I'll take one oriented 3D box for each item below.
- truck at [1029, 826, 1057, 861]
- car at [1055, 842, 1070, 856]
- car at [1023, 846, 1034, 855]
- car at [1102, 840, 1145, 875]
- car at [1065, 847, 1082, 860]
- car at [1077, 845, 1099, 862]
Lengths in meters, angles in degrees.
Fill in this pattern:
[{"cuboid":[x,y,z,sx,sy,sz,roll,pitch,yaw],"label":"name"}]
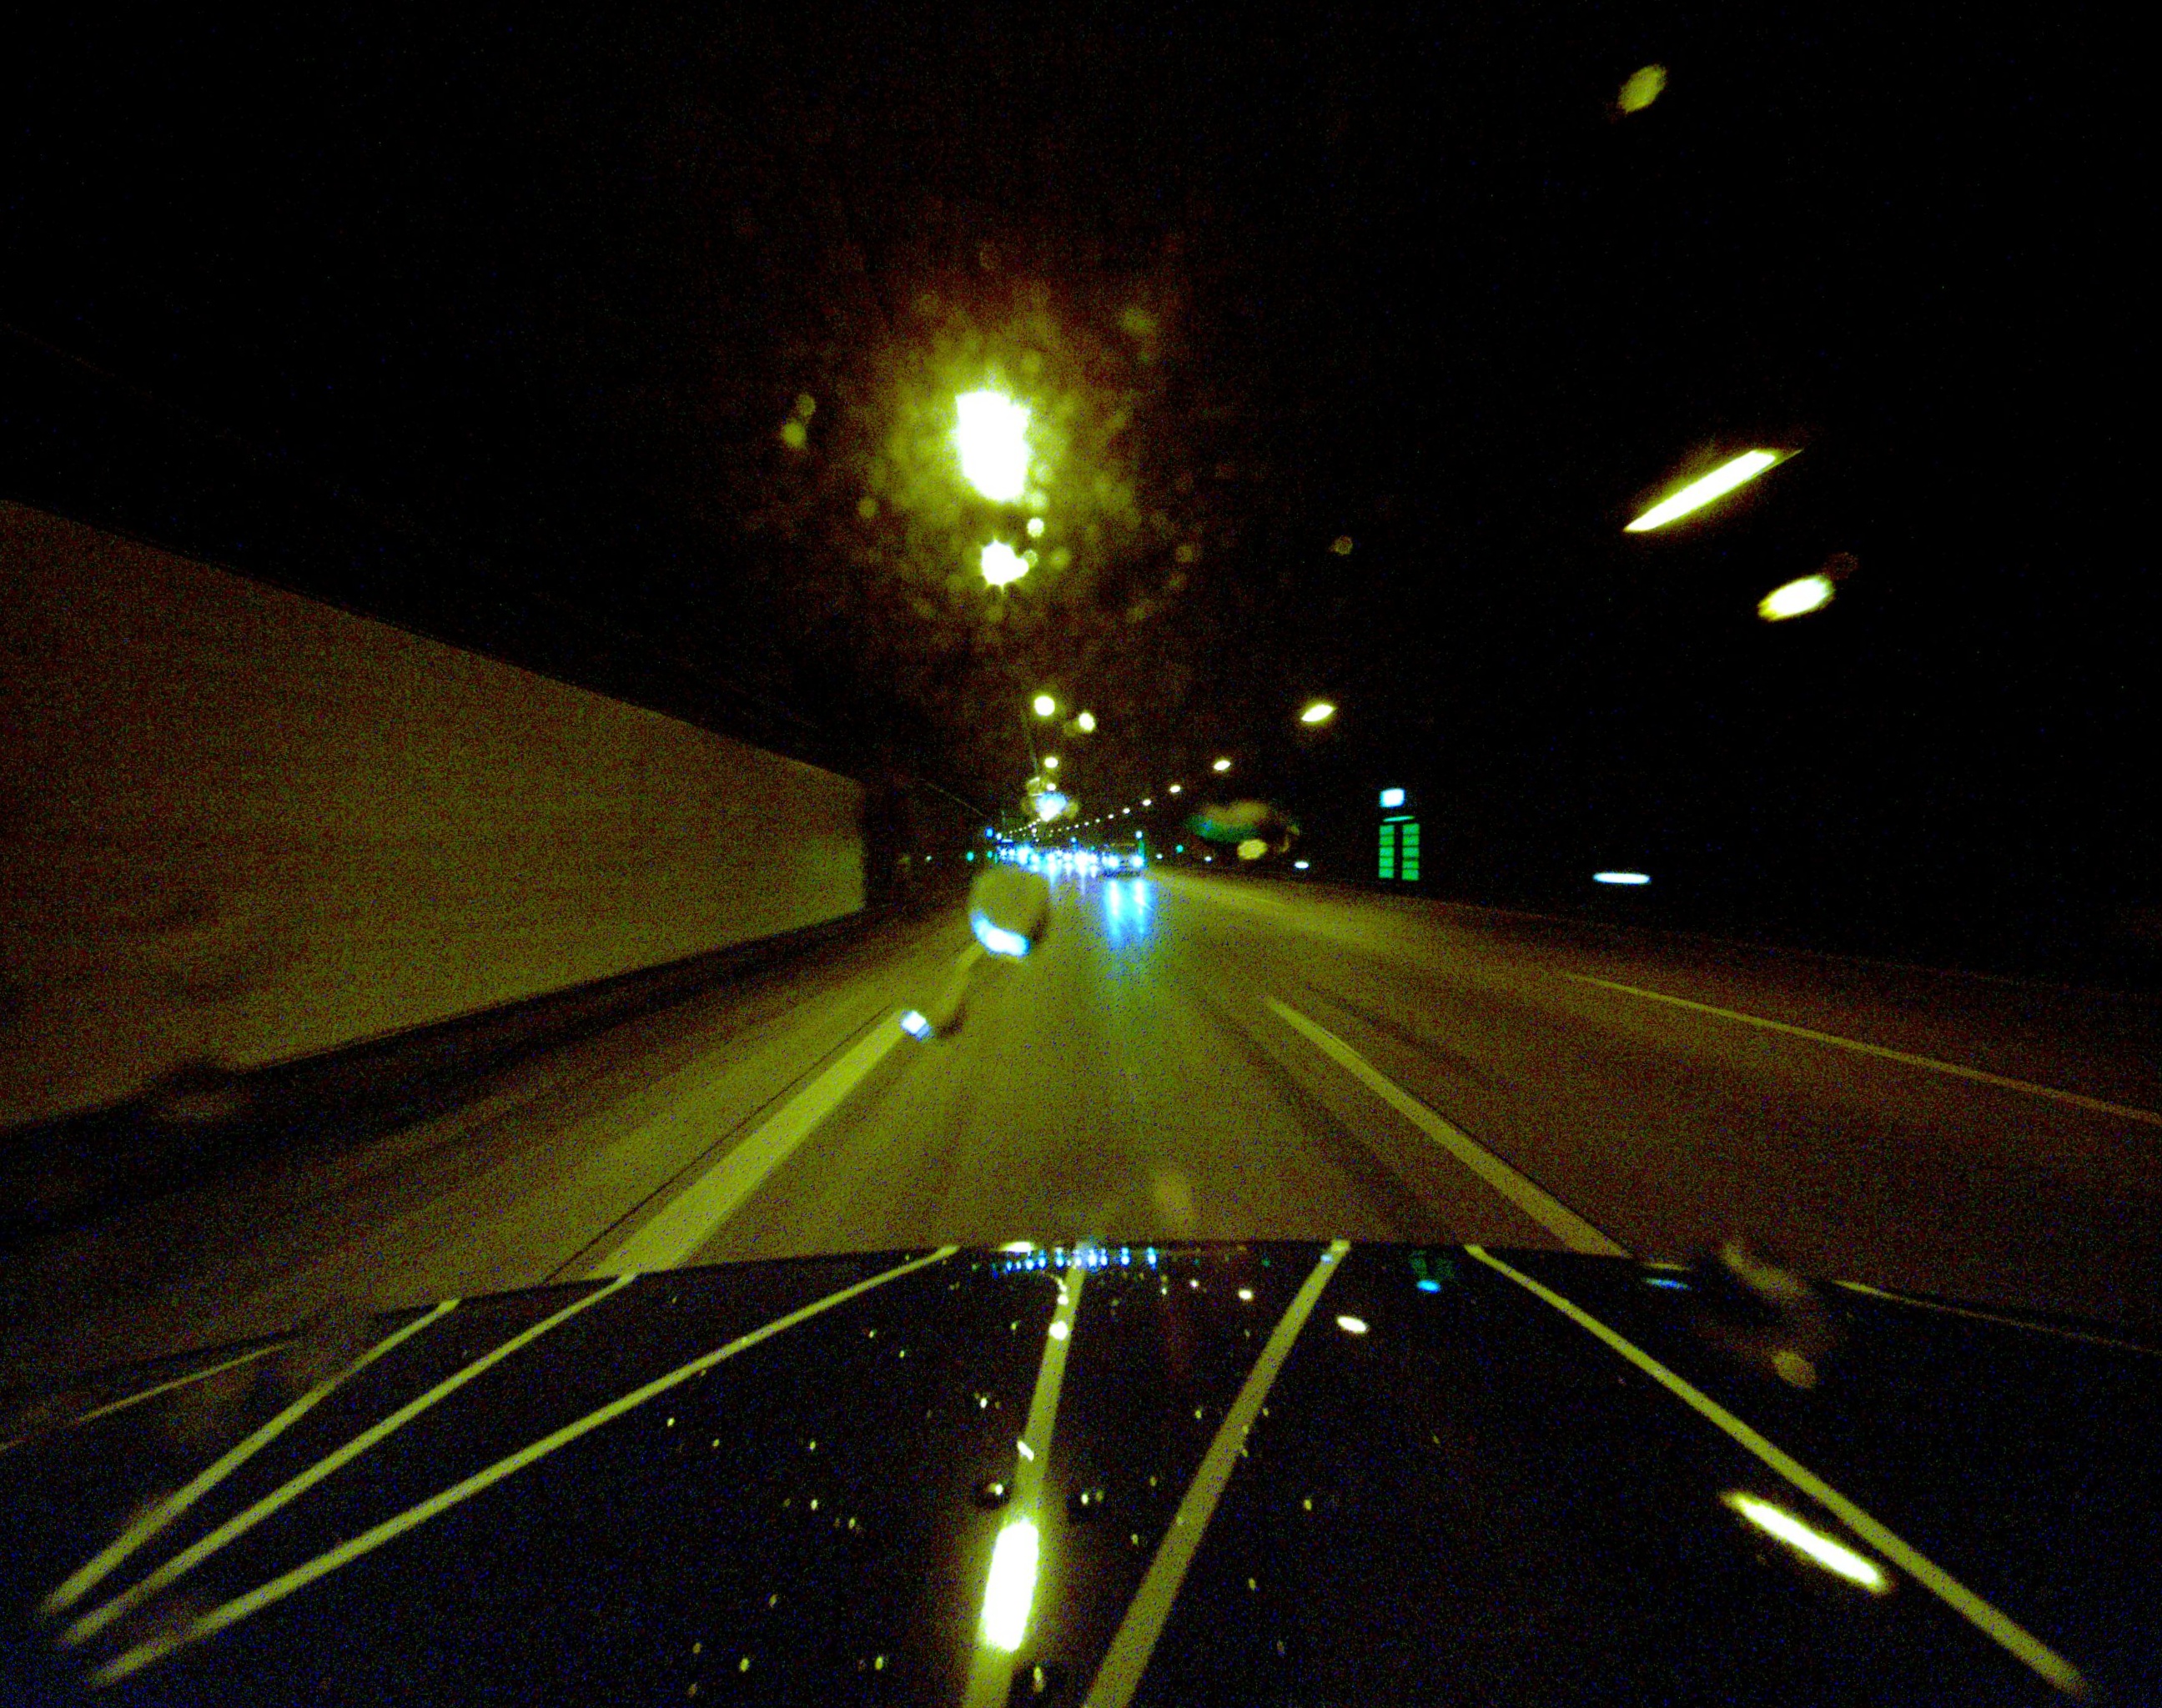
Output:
[{"cuboid":[-4.730,-1.337,93.725,3.143,4.136,7.383,-2,2,-4],"label":"truck"},{"cuboid":[-2.937,-0.792,120.833,1.999,2.002,3.998,-2,0,-6],"label":"car"},{"cuboid":[-11.721,-0.791,169.398,2.000,1.729,3.995,-2,1,-12],"label":"car"},{"cuboid":[2.597,0.224,47.286,1.999,2.001,4.359,-2,-1,-5],"label":"car"},{"cuboid":[-0.951,-0.052,93.899,1.759,1.567,3.998,-2,0,-4],"label":"car"},{"cuboid":[0.685,-0.052,76.743,1.911,1.638,3.998,-2,0,-3],"label":"car"}]
